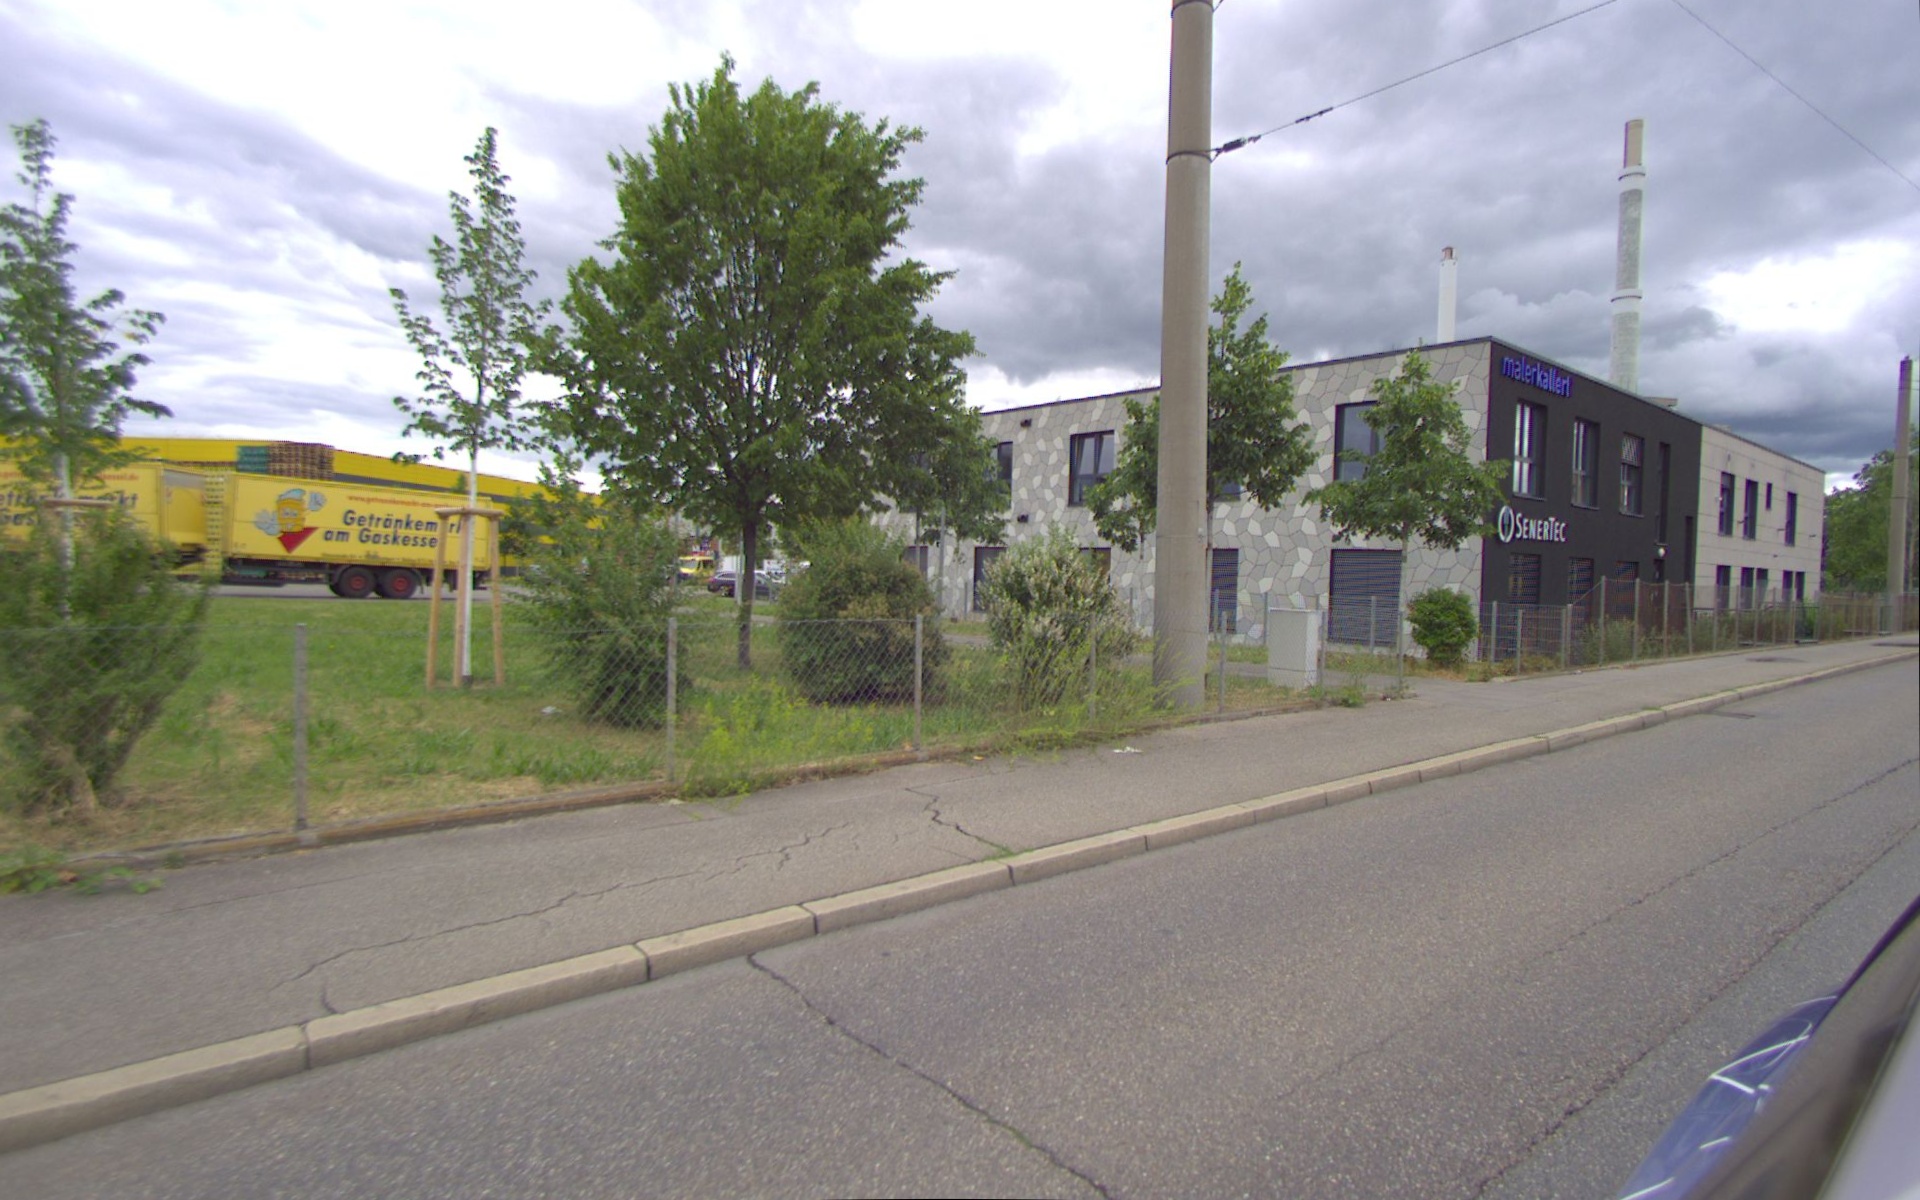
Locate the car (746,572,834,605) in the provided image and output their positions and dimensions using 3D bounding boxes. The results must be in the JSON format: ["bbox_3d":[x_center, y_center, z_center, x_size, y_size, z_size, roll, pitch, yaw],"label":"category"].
[{"bbox_3d":[-8.792,-0.601,52.601,4.292,1.604,2.001,1,1,-1],"label":"car"}]

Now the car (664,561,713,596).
[{"bbox_3d":[-21.837,-1.781,81.458,1.970,2.724,4.359,1,2,13],"label":"car"}]

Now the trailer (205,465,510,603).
[{"bbox_3d":[-20.467,-2.056,34.808,8.544,4.122,2.945,1,1,-42],"label":"trailer"}]

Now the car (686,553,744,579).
[{"bbox_3d":[-16.561,-2.246,68.632,1.971,1.605,4.357,-1,0,14],"label":"car"}]

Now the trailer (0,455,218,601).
[{"bbox_3d":[-28.327,-2.161,29.976,9.814,4.012,2.925,2,1,-13],"label":"trailer"}]

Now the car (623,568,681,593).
[{"bbox_3d":[-21.462,-1.323,70.697,1.970,1.625,4.359,-1,0,13],"label":"car"}]

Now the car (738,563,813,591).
[{"bbox_3d":[-11.490,-1.443,63.237,4.292,1.604,2.001,1,1,-1],"label":"car"}]

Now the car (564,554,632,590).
[{"bbox_3d":[-22.837,-1.704,64.035,1.971,2.148,4.357,-1,0,14],"label":"car"}]
